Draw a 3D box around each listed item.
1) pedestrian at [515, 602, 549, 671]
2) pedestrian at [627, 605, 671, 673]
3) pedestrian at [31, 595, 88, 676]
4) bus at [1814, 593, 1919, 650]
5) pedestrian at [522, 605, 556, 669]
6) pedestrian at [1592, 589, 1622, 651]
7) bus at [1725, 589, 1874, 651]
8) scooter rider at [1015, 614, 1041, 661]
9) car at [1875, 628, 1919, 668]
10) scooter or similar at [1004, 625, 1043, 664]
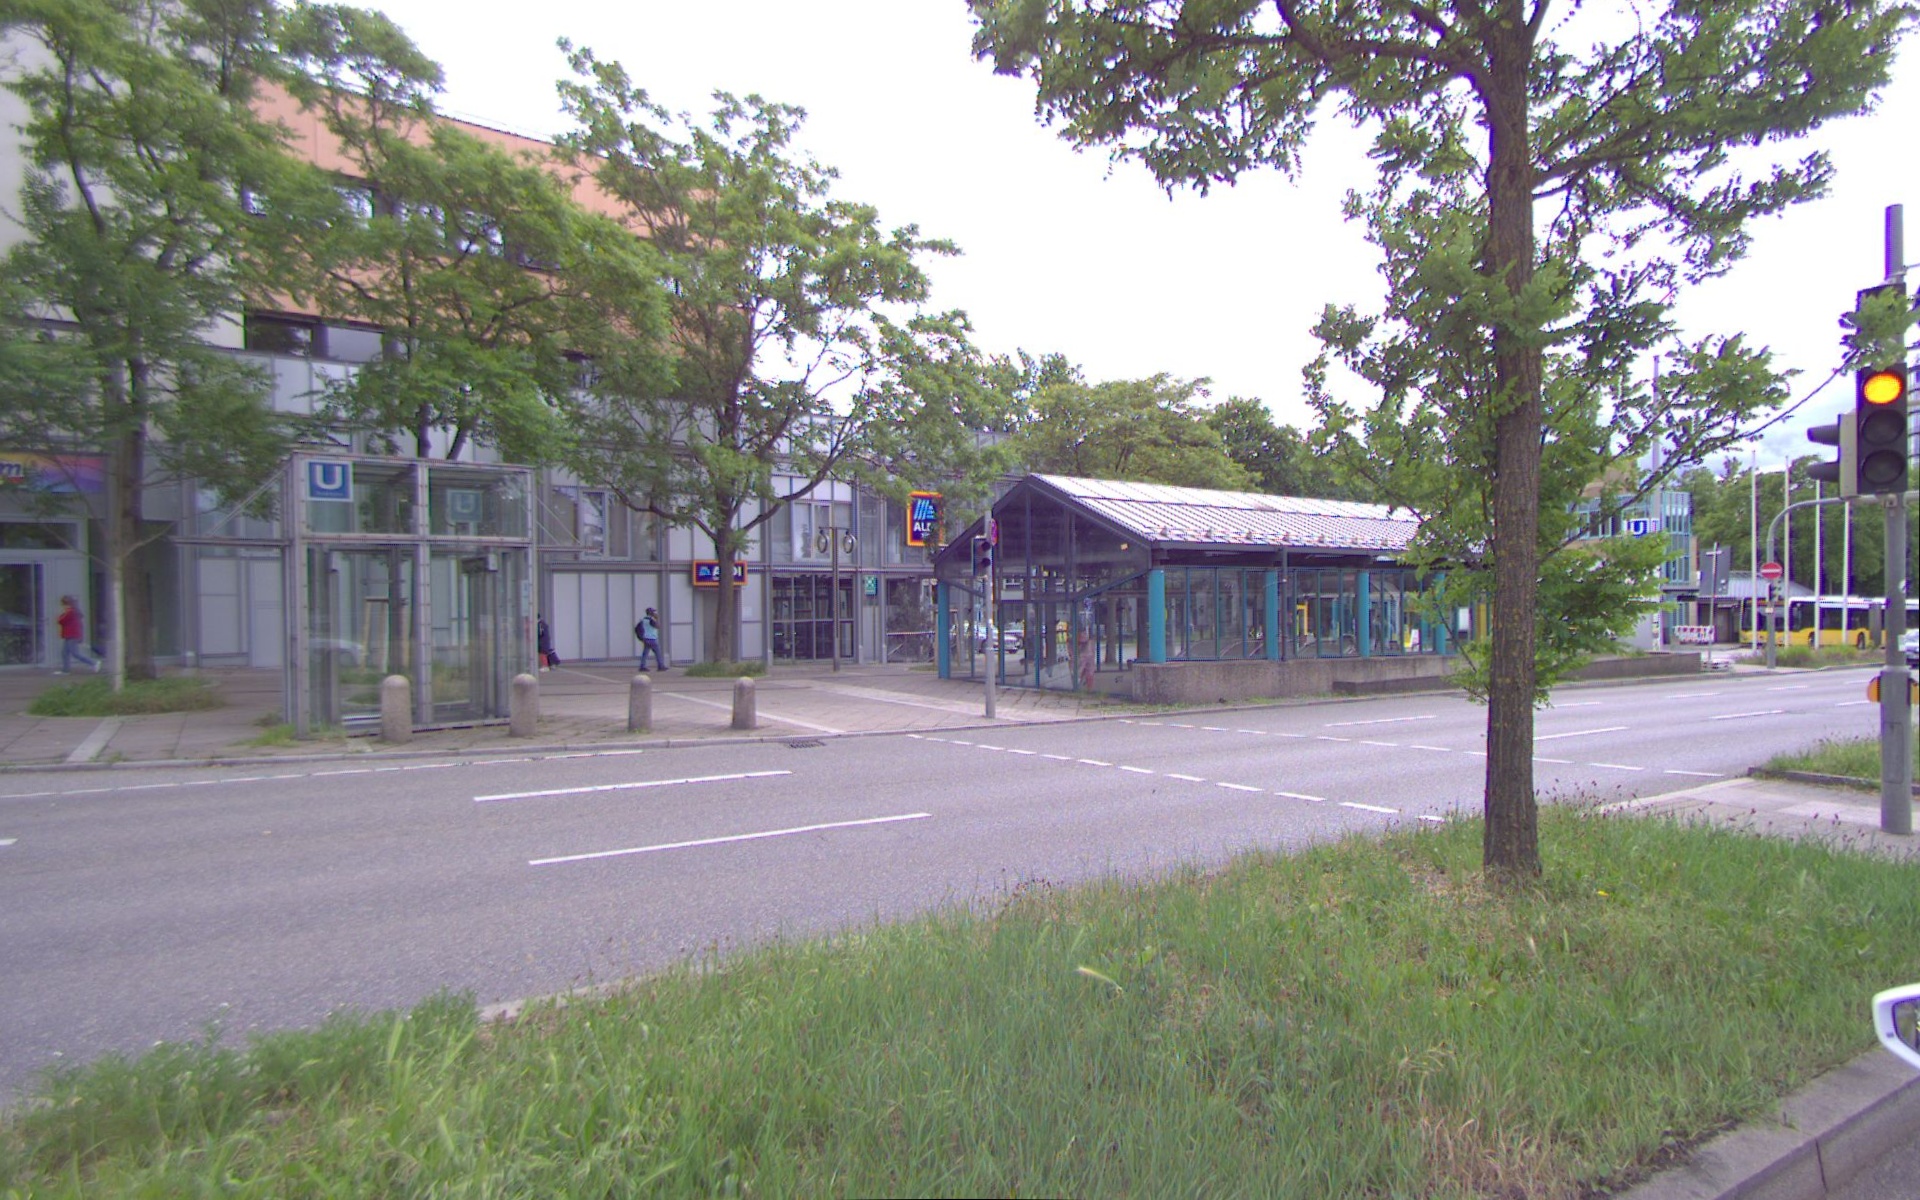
[{"bbox_3d":[-11.062,0.925,25.955,0.674,1.750,0.560,0,-1,-39],"label":"pedestrian"},{"bbox_3d":[-8.182,1.013,26.407,0.879,1.739,0.764,1,2,-39],"label":"pedestrian"},{"bbox_3d":[-18.387,0.722,20.527,0.819,1.607,0.629,1,-1,-40],"label":"pedestrian"},{"bbox_3d":[59.253,1.431,64.509,10.592,3.476,2.822,1,-1,-26],"label":"bus"},{"bbox_3d":[-10.684,0.932,25.505,0.674,1.610,0.513,0,-1,-39],"label":"pedestrian"},{"bbox_3d":[21.690,0.678,33.683,0.639,2.040,0.677,1,-1,-34],"label":"pedestrian"},{"bbox_3d":[50.174,1.244,59.952,10.592,3.476,2.822,1,-1,-26],"label":"bus"},{"bbox_3d":[2.323,1.277,34.401,0.700,1.566,0.521,1,2,-37],"label":"scooter rider"},{"bbox_3d":[37.771,1.856,39.262,3.955,1.505,1.983,1,-1,-32],"label":"car"},{"bbox_3d":[2.176,1.500,34.316,1.276,1.284,0.476,1,2,-37],"label":"scooter or similar"}]
